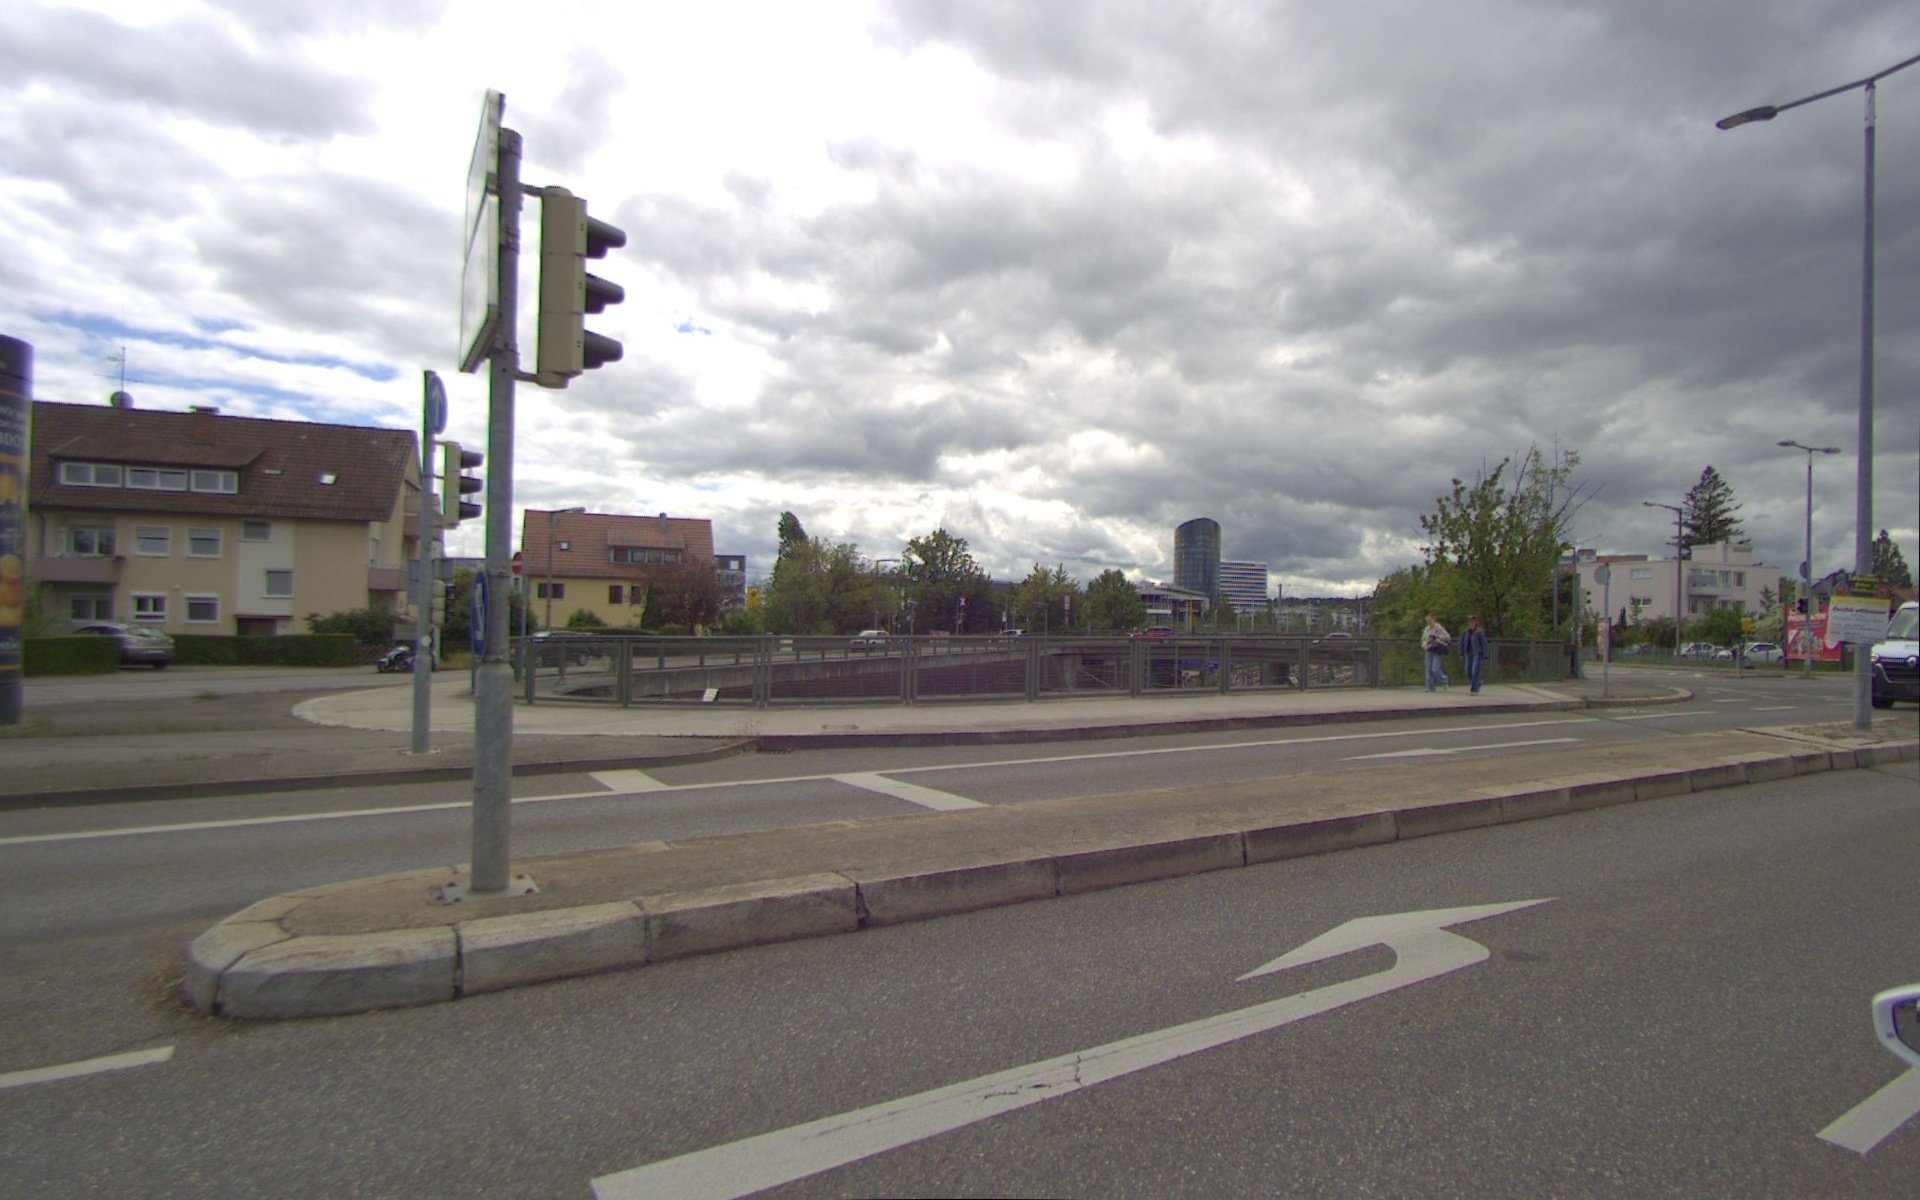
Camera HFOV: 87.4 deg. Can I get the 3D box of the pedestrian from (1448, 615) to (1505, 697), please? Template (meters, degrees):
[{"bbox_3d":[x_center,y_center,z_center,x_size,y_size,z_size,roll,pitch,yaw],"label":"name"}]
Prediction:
[{"bbox_3d":[10.804,1.147,21.004,1.061,1.655,0.651,1,0,-37],"label":"pedestrian"}]

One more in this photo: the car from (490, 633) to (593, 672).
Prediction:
[{"bbox_3d":[-18.669,2.295,45.039,1.960,1.628,4.378,0,-2,16],"label":"car"}]

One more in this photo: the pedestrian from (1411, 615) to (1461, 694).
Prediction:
[{"bbox_3d":[10.265,1.159,21.651,0.825,1.655,0.651,1,0,-37],"label":"pedestrian"}]

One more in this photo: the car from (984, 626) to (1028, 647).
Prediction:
[{"bbox_3d":[4.351,3.431,95.235,3.941,1.685,1.727,4,2,42],"label":"car"}]

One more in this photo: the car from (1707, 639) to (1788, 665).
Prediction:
[{"bbox_3d":[50.669,3.354,64.656,3.925,1.574,1.801,1,-2,-6],"label":"car"}]

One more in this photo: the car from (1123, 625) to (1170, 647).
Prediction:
[{"bbox_3d":[16.640,3.170,89.472,3.920,1.684,1.799,2,1,16],"label":"car"}]

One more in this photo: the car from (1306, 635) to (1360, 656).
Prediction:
[{"bbox_3d":[31.184,3.808,84.073,3.919,1.592,1.893,1,0,11],"label":"car"}]

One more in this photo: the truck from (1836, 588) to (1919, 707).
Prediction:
[{"bbox_3d":[21.503,0.982,20.896,6.706,2.294,2.122,1,-2,-22],"label":"truck"}]

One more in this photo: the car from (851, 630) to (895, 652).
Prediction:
[{"bbox_3d":[-6.663,3.169,77.337,1.862,1.628,4.379,0,-2,16],"label":"car"}]

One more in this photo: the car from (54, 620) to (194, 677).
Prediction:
[{"bbox_3d":[-27.970,1.573,33.631,3.920,1.602,1.787,2,1,18],"label":"car"}]

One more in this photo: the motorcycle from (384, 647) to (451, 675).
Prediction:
[{"bbox_3d":[-20.686,2.328,38.353,2.085,1.012,0.702,1,-6,-13],"label":"motorcycle"}]
